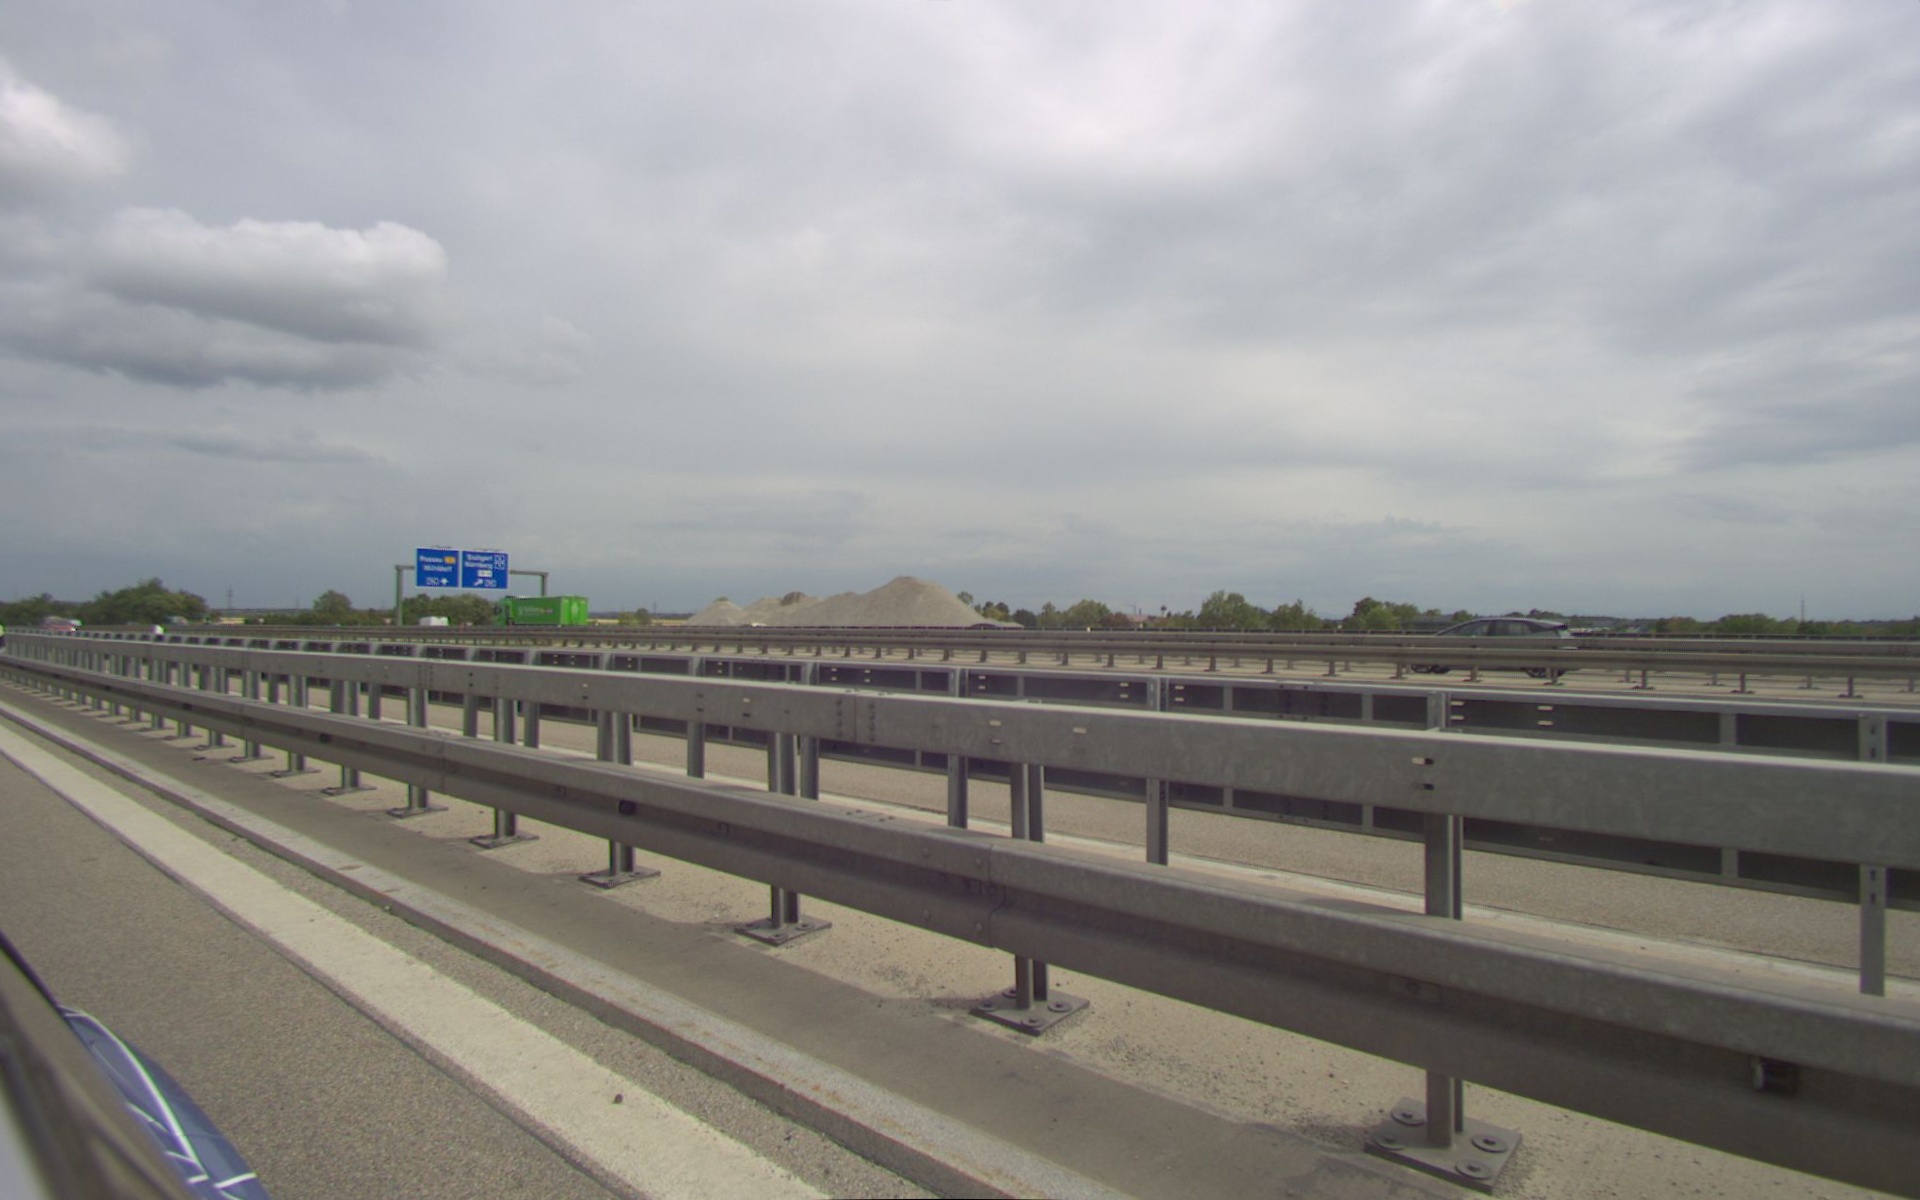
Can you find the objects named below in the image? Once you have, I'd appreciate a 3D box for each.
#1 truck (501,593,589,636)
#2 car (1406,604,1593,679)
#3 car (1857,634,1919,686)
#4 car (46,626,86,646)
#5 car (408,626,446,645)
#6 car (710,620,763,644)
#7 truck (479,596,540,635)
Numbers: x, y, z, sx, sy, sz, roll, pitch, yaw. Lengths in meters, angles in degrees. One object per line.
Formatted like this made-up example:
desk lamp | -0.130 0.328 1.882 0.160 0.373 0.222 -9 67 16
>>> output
truck | -37.638 1.350 91.586 10.430 3.662 2.982 -2 -1 41
car | 14.184 1.062 26.713 3.998 1.802 1.973 -2 0 41
car | 30.880 1.878 31.495 4.391 1.564 1.972 -1 -1 42
car | -73.935 2.996 83.685 4.351 1.557 1.801 -2 0 40
car | -63.011 4.178 119.614 5.514 2.240 2.173 -2 -1 41
car | -15.888 2.227 71.793 3.999 1.641 1.711 -1 -1 42
truck | -42.795 1.459 96.077 5.891 3.636 3.010 -1 -1 41
